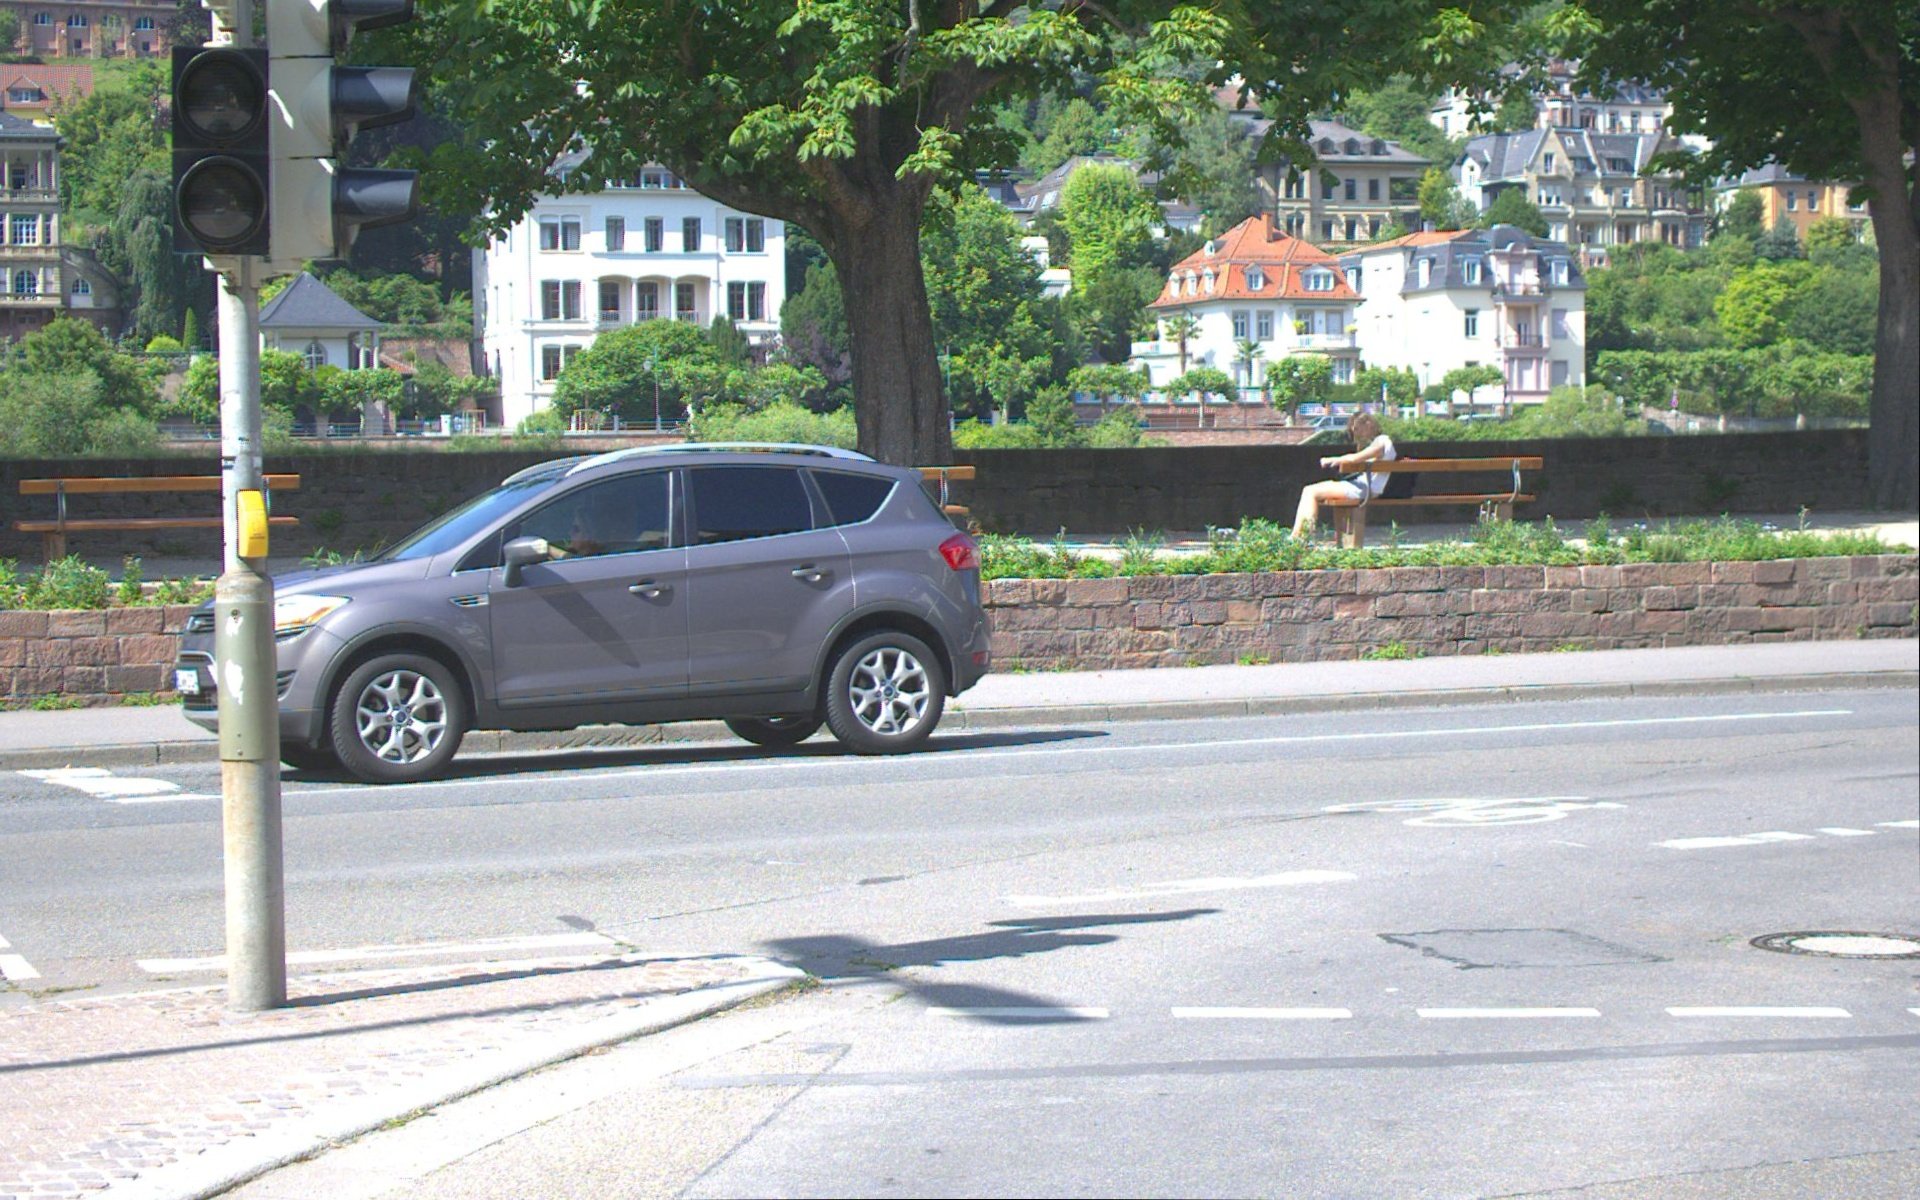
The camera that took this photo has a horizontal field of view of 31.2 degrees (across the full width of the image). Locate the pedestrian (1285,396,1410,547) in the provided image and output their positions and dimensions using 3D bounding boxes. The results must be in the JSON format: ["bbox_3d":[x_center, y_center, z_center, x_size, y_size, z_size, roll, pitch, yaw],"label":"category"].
[{"bbox_3d":[3.251,-1.070,28.868,0.797,1.207,0.715,1,-2,-20],"label":"pedestrian"}]

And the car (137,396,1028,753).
[{"bbox_3d":[-2.027,-0.118,18.574,4.394,1.747,1.844,-1,-2,-26],"label":"car"}]
